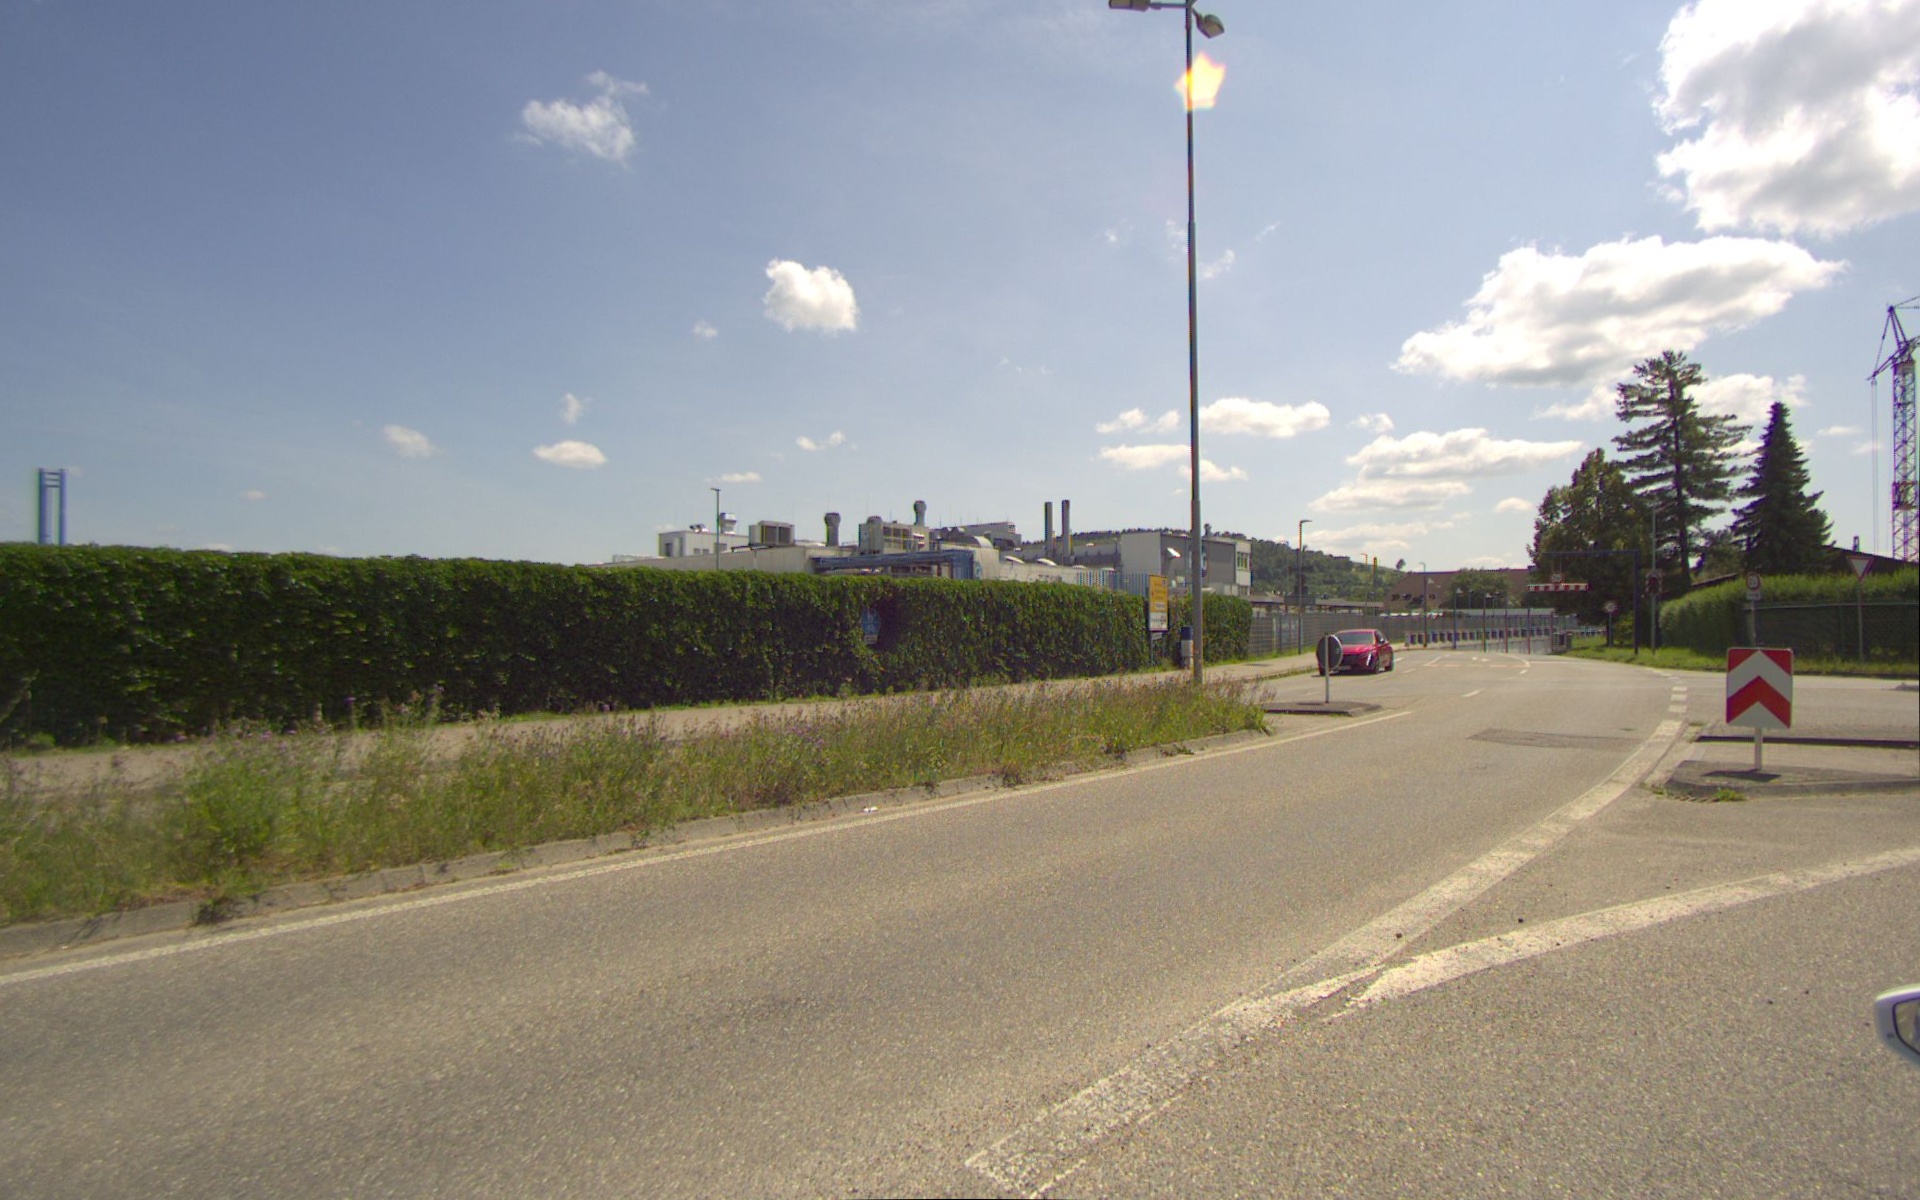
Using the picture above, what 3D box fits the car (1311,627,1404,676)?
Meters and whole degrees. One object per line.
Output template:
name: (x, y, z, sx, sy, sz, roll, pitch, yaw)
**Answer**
car: (13.160, 1.660, 33.101, 1.855, 1.483, 4.373, -2, -3, 35)
